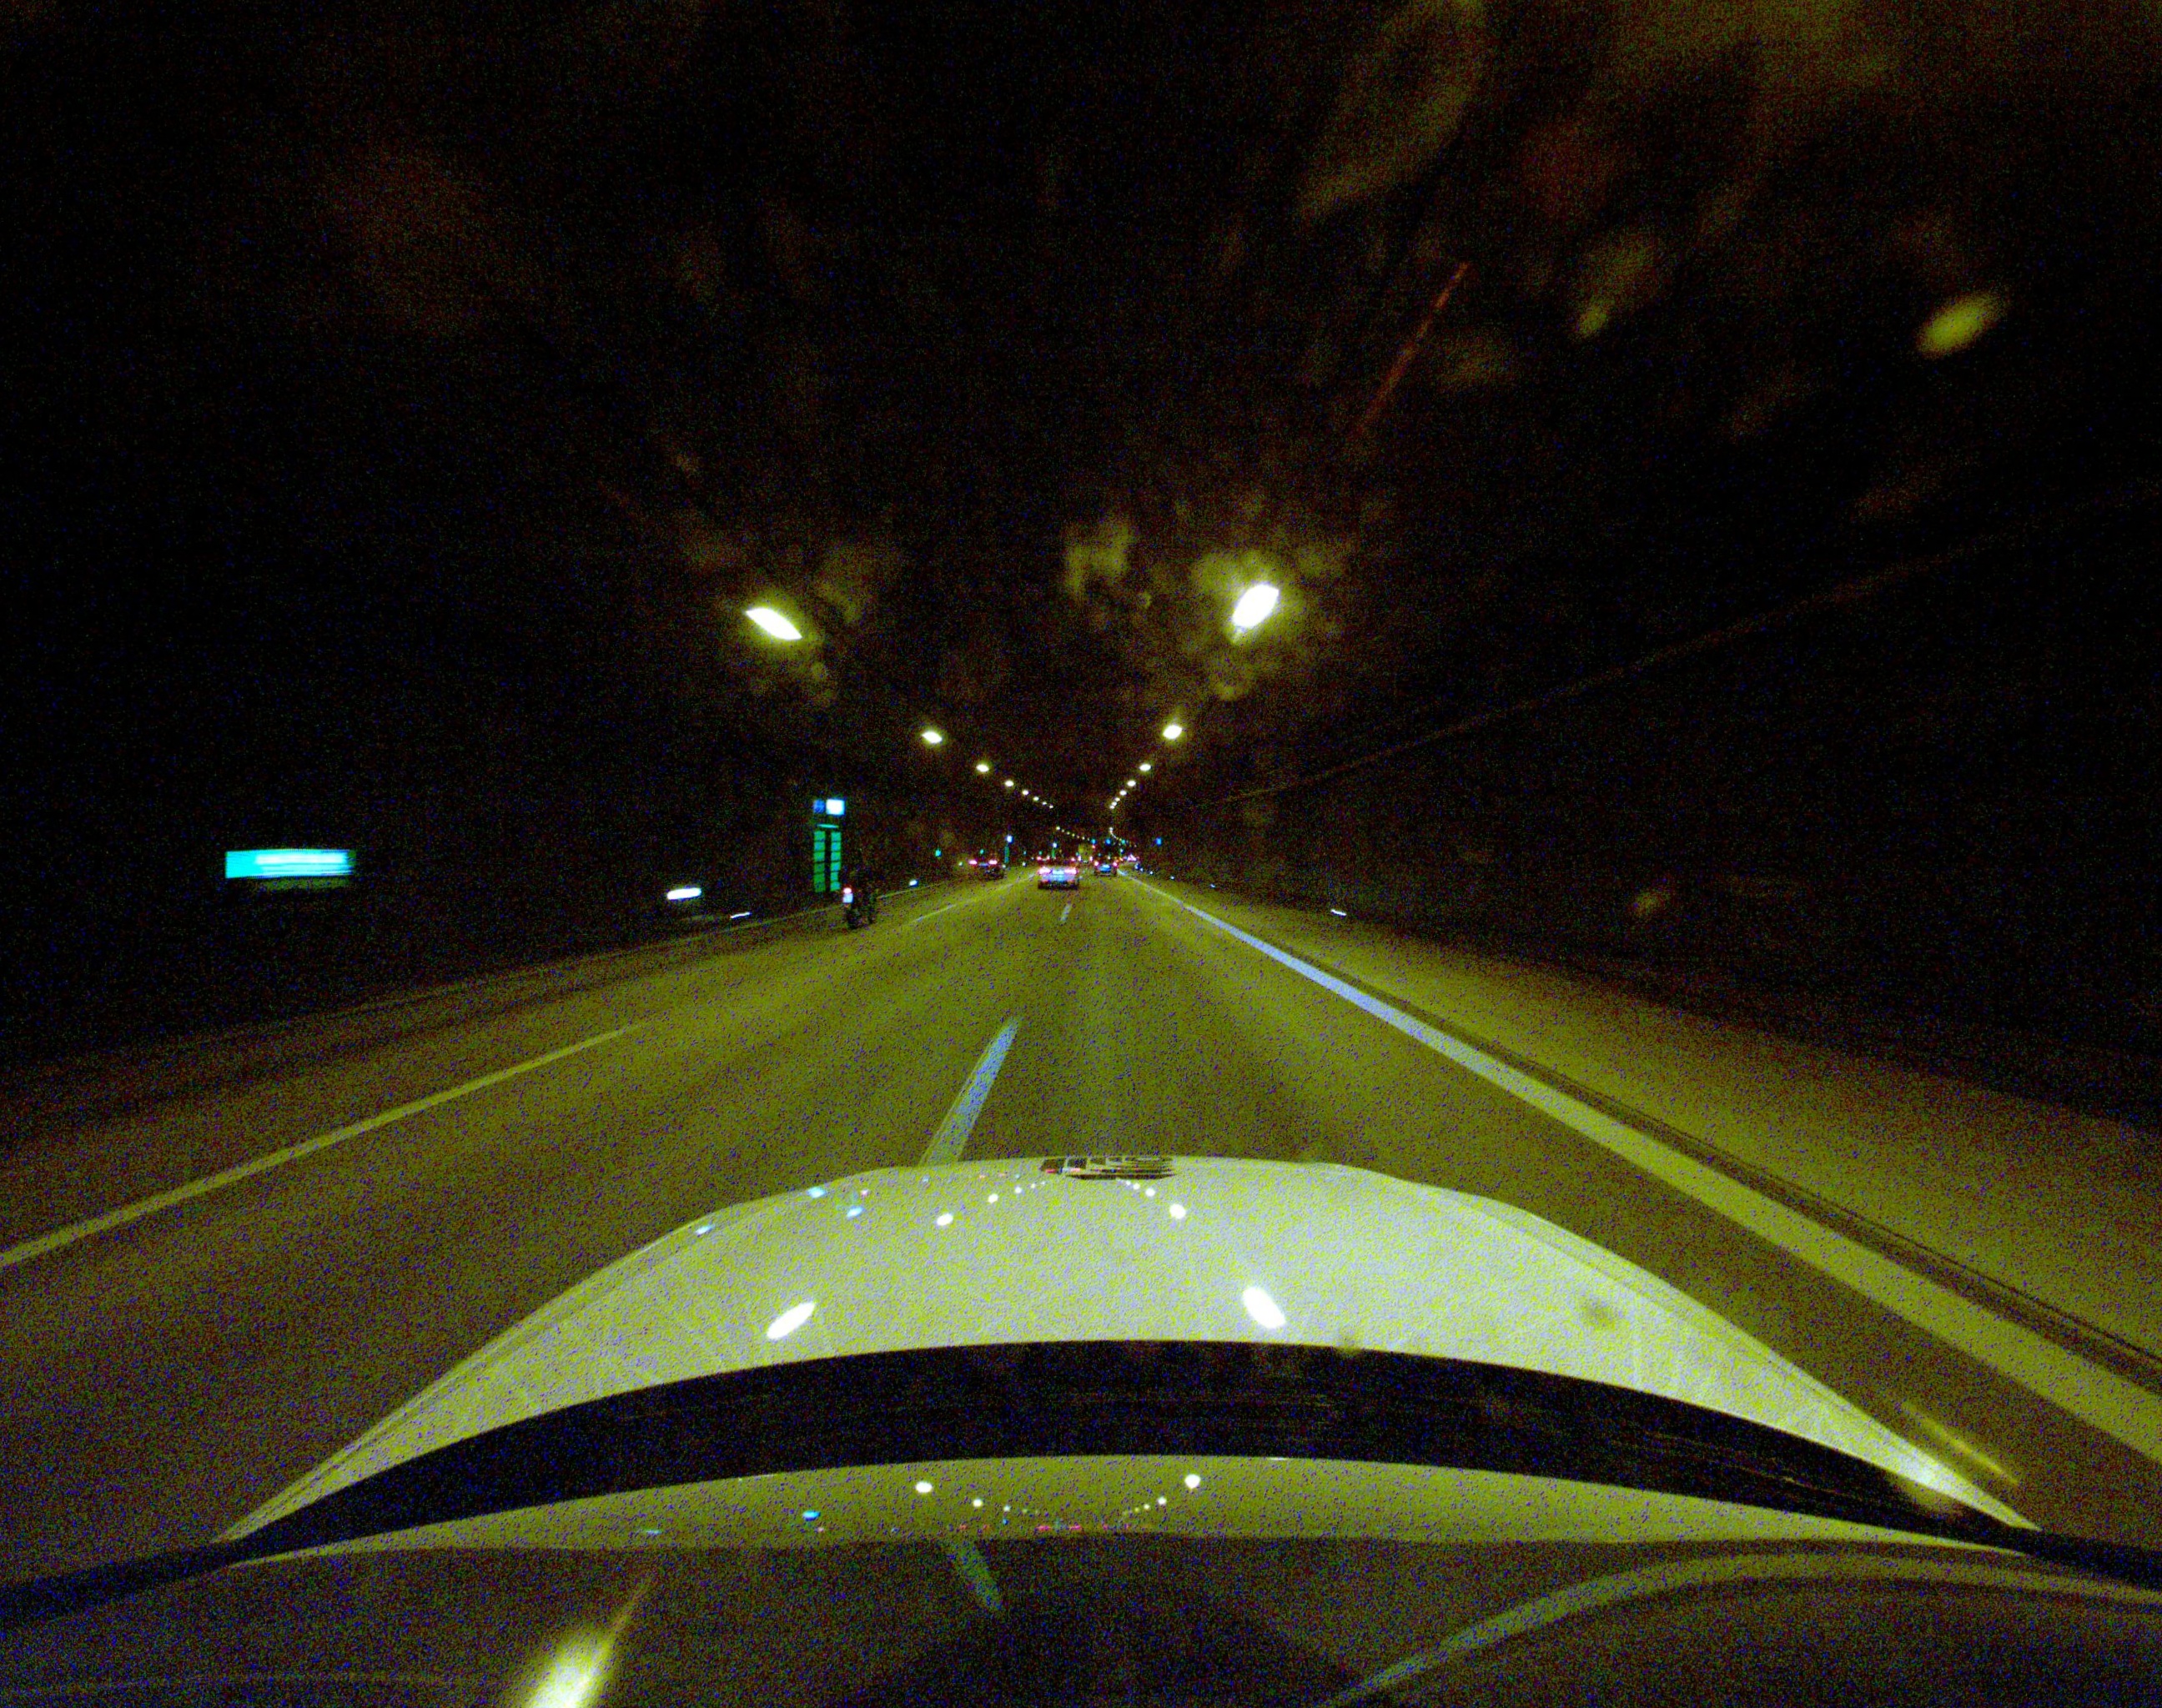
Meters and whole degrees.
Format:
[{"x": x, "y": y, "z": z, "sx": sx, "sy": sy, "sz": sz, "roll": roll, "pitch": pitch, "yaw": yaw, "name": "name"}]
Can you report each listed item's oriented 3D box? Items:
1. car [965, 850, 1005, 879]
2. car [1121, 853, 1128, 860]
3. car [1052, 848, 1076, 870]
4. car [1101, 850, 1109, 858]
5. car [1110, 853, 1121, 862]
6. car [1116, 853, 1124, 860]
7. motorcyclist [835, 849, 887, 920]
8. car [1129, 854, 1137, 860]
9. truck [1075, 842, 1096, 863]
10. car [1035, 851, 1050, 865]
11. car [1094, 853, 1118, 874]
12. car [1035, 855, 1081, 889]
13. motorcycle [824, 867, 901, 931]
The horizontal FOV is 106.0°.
[{"x": -5.622, "y": 0.617, "z": 48.249, "sx": 1.779, "sy": 1.598, "sz": 3.802, "roll": -1, "pitch": 0, "yaw": 1, "name": "car"}, {"x": 11.678, "y": 0.633, "z": 219.698, "sx": 1.824, "sy": 1.691, "sz": 4.006, "roll": 0, "pitch": 0, "yaw": 5, "name": "car"}, {"x": -1.563, "y": 0.463, "z": 77.430, "sx": 1.986, "sy": 1.972, "sz": 4.002, "roll": -2, "pitch": -1, "yaw": 2, "name": "car"}, {"x": 5.535, "y": 0.113, "z": 188.135, "sx": 1.986, "sy": 1.754, "sz": 4.001, "roll": -1, "pitch": -1, "yaw": 1, "name": "car"}, {"x": 6.264, "y": 0.576, "z": 148.088, "sx": 1.836, "sy": 1.568, "sz": 4.003, "roll": 0, "pitch": 0, "yaw": 3, "name": "car"}, {"x": 8.477, "y": 0.535, "z": 177.067, "sx": 1.851, "sy": 1.666, "sz": 4.003, "roll": 0, "pitch": 0, "yaw": 3, "name": "car"}, {"x": -4.765, "y": 0.643, "z": 17.683, "sx": 0.836, "sy": 1.477, "sz": 0.822, "roll": -2, "pitch": 0, "yaw": 2, "name": "motorcyclist"}, {"x": 13.672, "y": 0.770, "z": 214.920, "sx": 1.835, "sy": 1.551, "sz": 4.006, "roll": 0, "pitch": 0, "yaw": 5, "name": "car"}, {"x": 0.798, "y": -0.346, "z": 129.341, "sx": 3.071, "sy": 3.112, "sz": 10.035, "roll": -1, "pitch": 1, "yaw": 2, "name": "truck"}, {"x": -4.740, "y": 0.490, "z": 100.559, "sx": 1.795, "sy": 1.684, "sz": 3.997, "roll": -2, "pitch": 0, "yaw": -1, "name": "car"}, {"x": 1.970, "y": 0.707, "z": 64.015, "sx": 1.833, "sy": 1.602, "sz": 4.002, "roll": -1, "pitch": 0, "yaw": 2, "name": "car"}, {"x": -0.999, "y": 0.788, "z": 37.615, "sx": 1.987, "sy": 1.483, "sz": 4.000, "roll": -1, "pitch": 0, "yaw": 0, "name": "car"}, {"x": -4.748, "y": 0.941, "z": 17.936, "sx": 0.842, "sy": 1.246, "sz": 2.606, "roll": -2, "pitch": -1, "yaw": 2, "name": "motorcycle"}]
